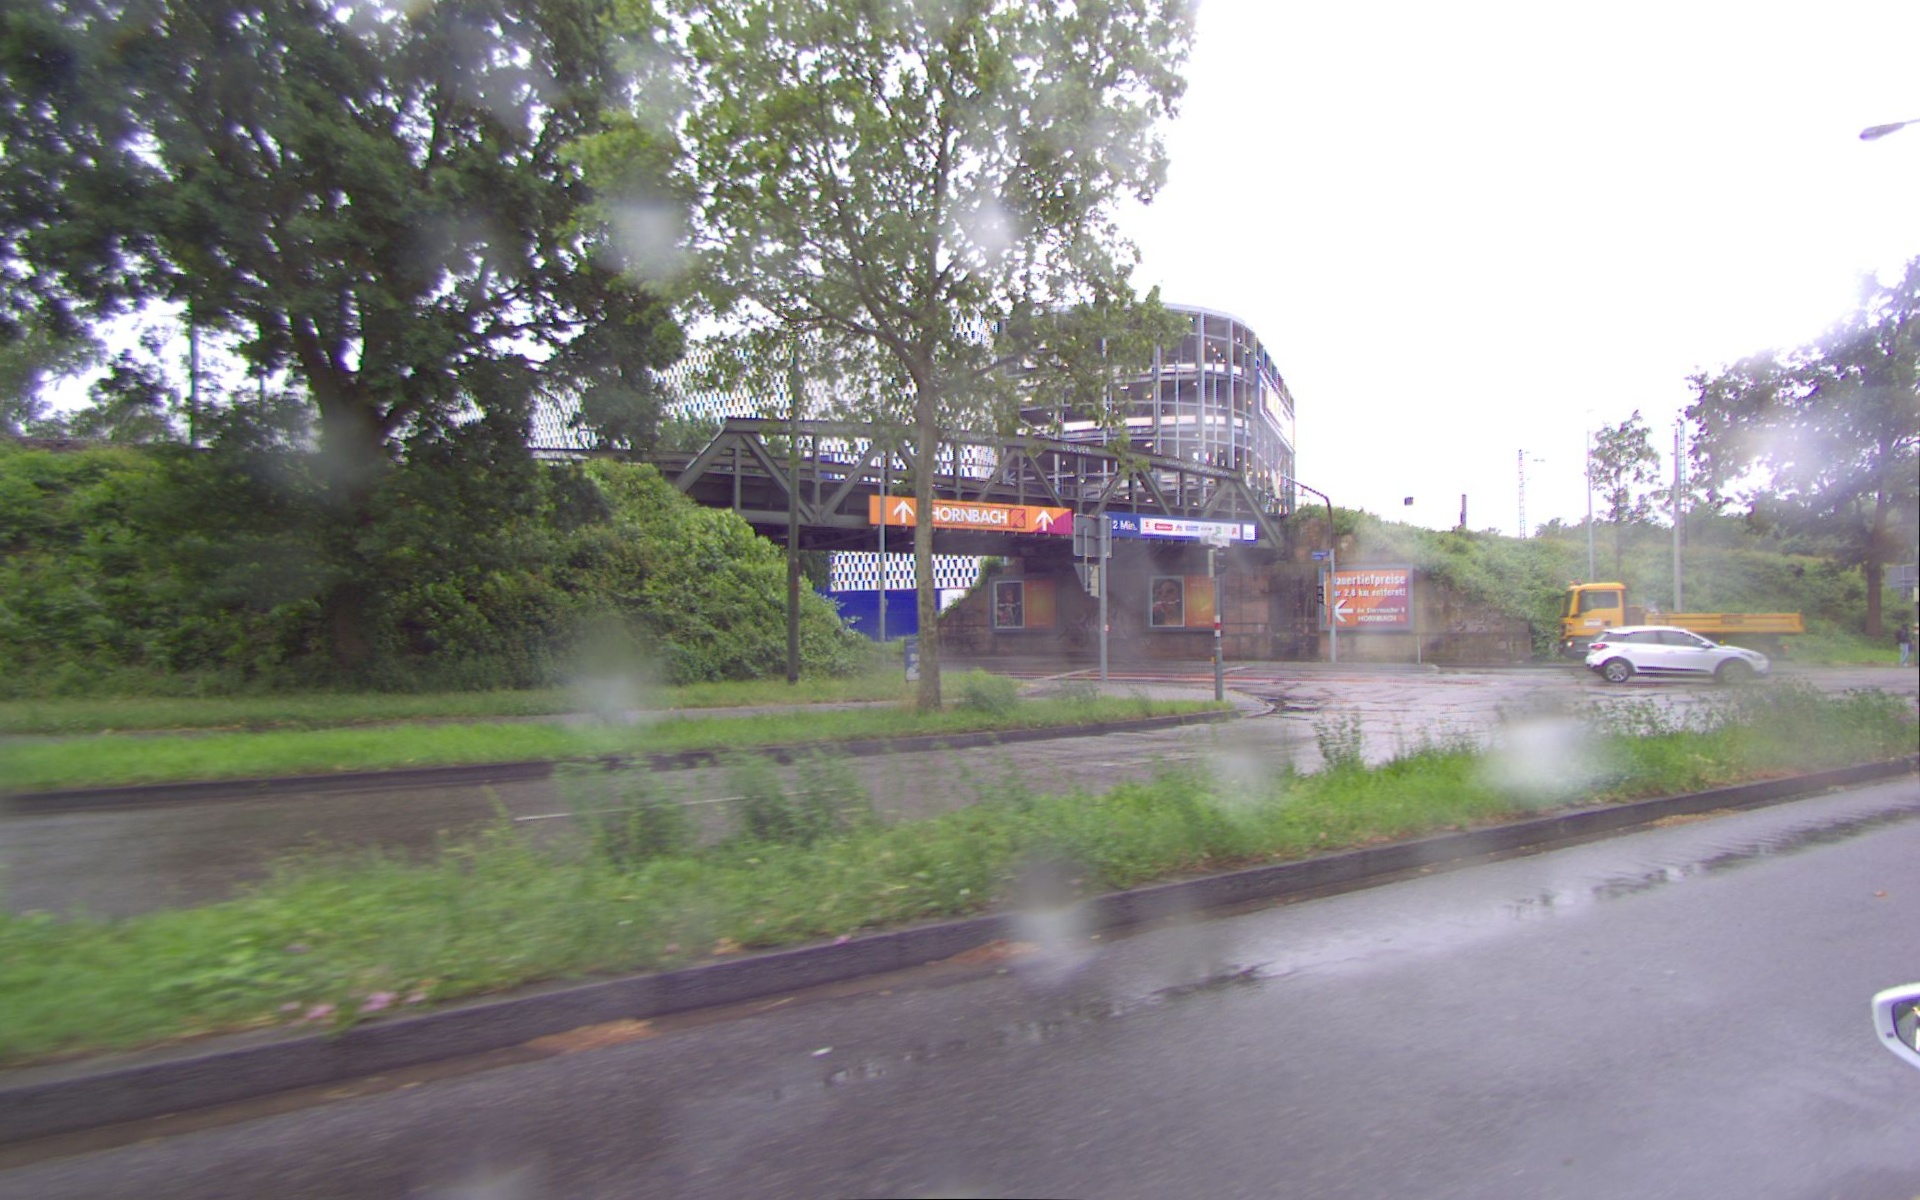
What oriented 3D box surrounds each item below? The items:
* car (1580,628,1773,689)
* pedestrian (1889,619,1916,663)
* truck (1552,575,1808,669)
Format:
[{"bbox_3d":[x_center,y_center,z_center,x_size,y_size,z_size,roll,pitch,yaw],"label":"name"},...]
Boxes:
[{"bbox_3d":[19.304,1.551,27.299,3.988,1.541,1.998,-1,-2,27],"label":"car"},{"bbox_3d":[38.920,1.686,41.483,0.661,1.809,0.533,1,0,-12],"label":"pedestrian"},{"bbox_3d":[25.219,0.784,35.653,6.914,3.094,2.646,-1,-2,23],"label":"truck"}]
